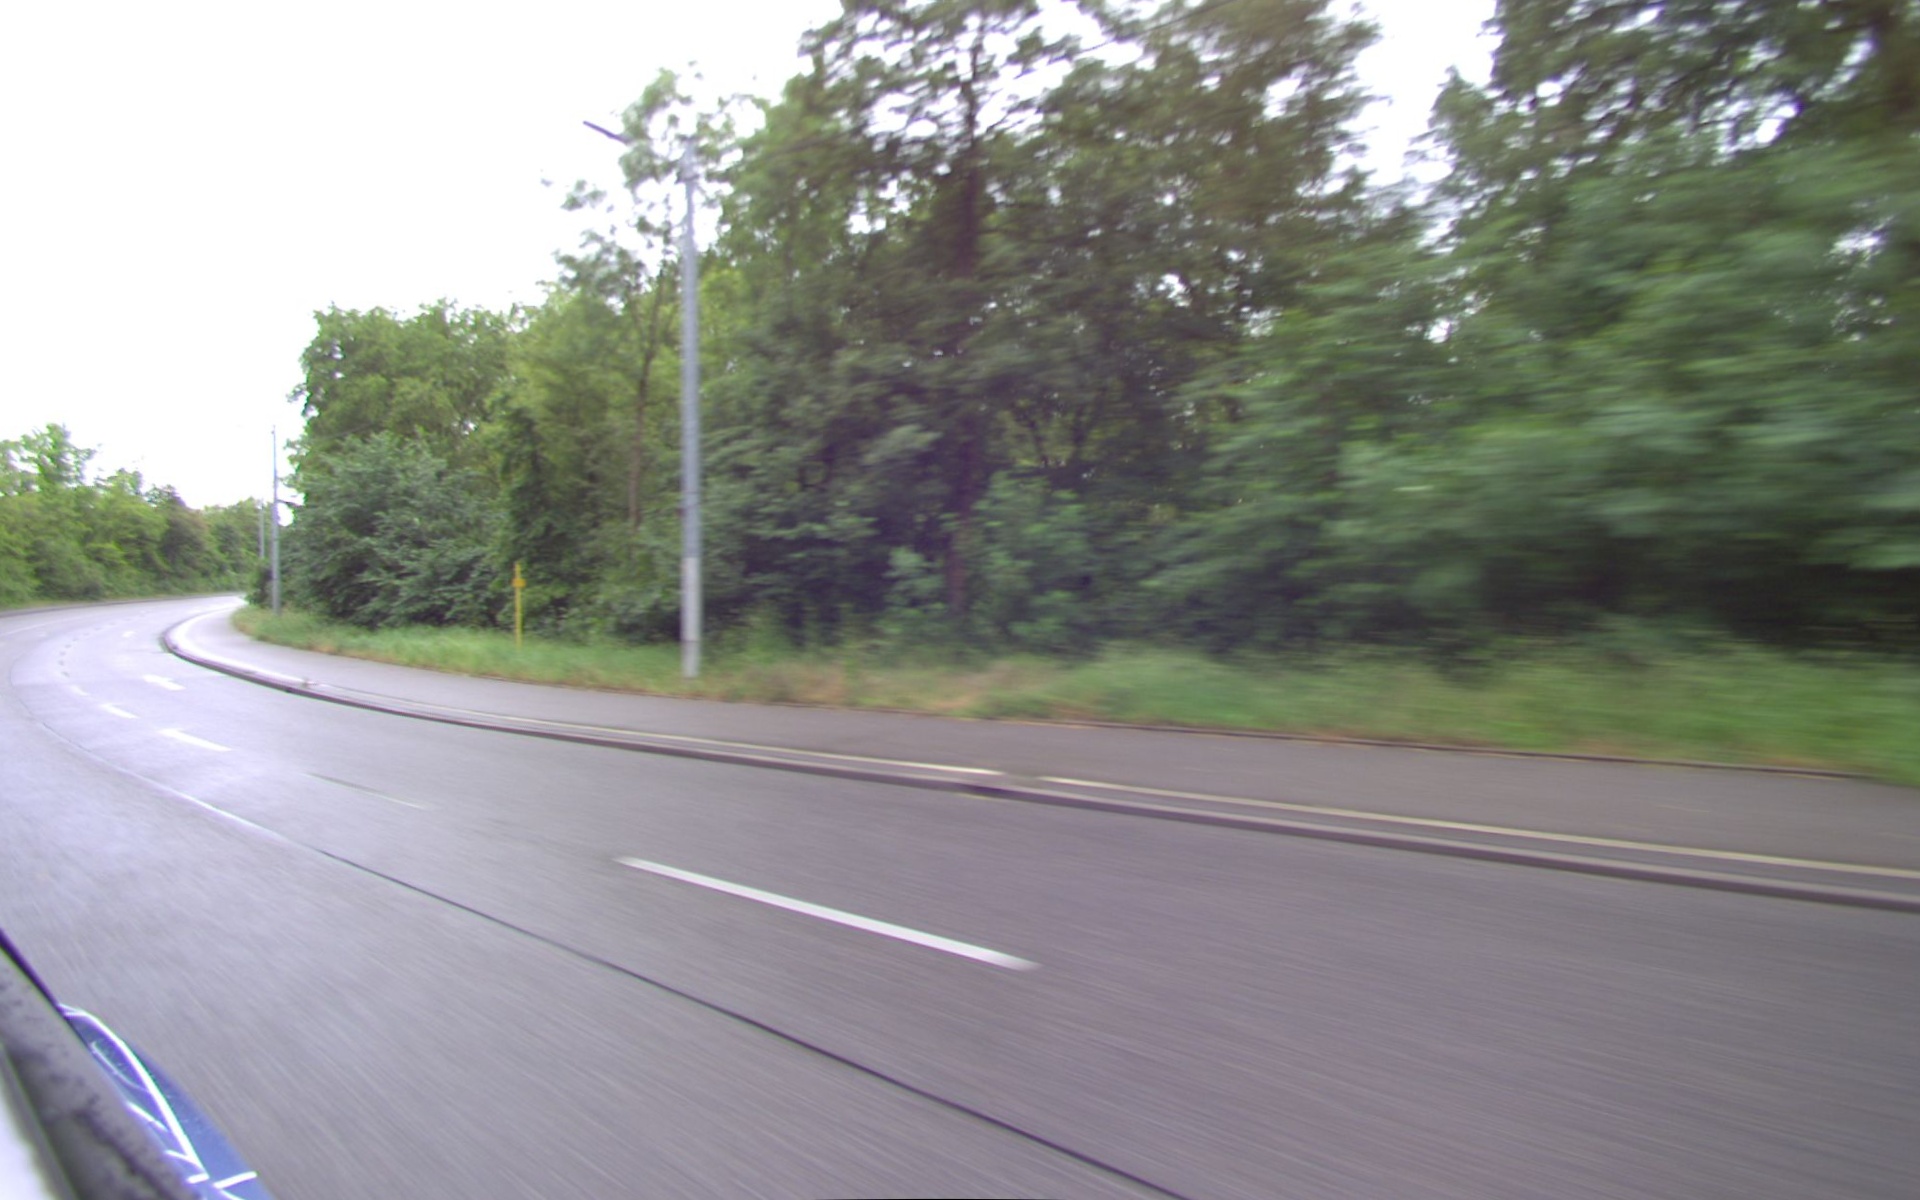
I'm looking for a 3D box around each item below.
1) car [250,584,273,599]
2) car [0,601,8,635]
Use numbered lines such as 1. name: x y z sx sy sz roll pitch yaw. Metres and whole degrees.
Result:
1. car: -74.833 -0.871 108.469 1.802 1.451 4.011 1 -3 -32
2. car: -43.596 0.750 44.381 1.802 1.532 4.011 6 -4 -32
